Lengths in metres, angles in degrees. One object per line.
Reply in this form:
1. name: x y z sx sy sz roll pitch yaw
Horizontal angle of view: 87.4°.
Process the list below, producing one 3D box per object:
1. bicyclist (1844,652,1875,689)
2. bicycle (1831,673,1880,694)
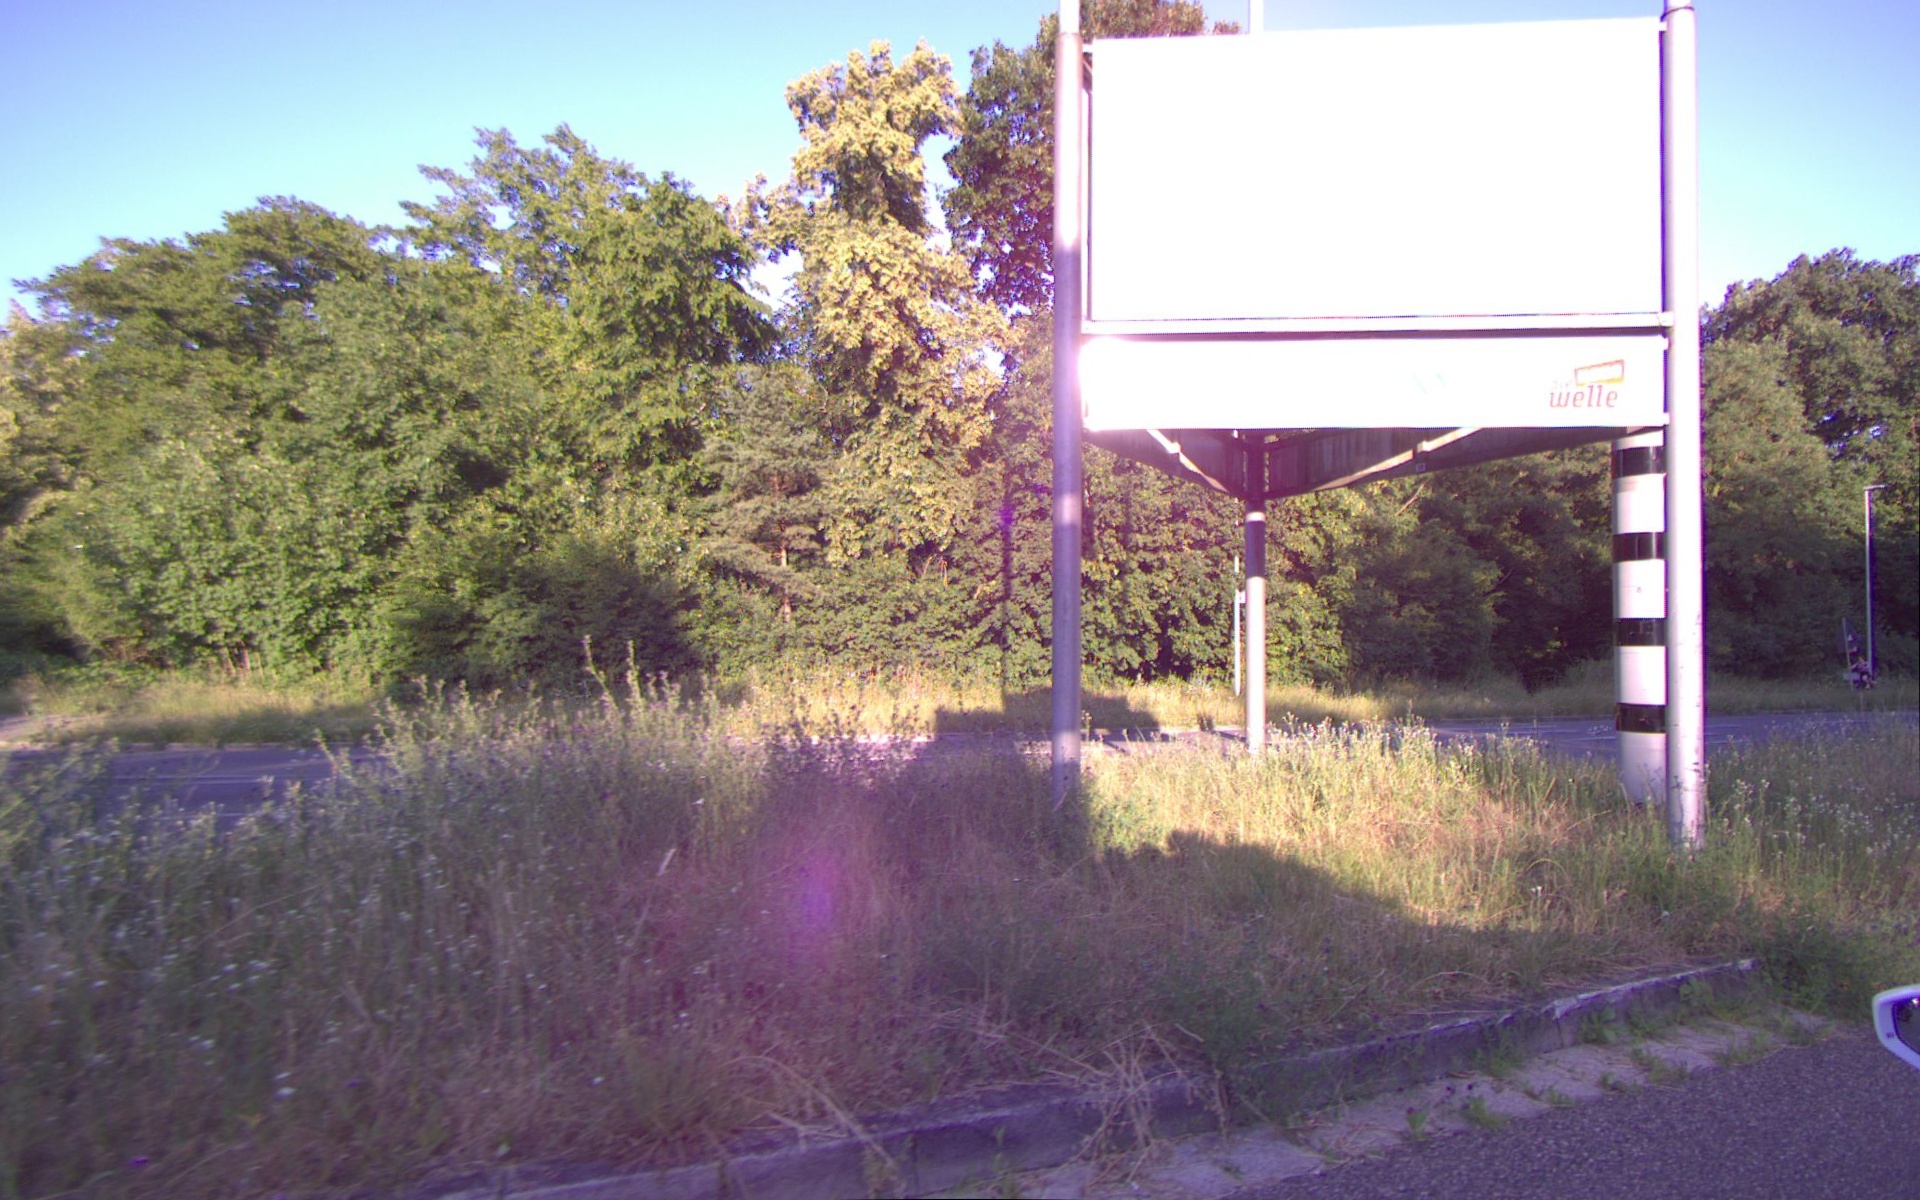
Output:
1. bicyclist: 35.581 2.768 39.722 0.810 1.448 0.585 1 -3 -21
2. bicycle: 35.406 3.298 39.713 1.929 0.815 0.585 1 -3 -21
